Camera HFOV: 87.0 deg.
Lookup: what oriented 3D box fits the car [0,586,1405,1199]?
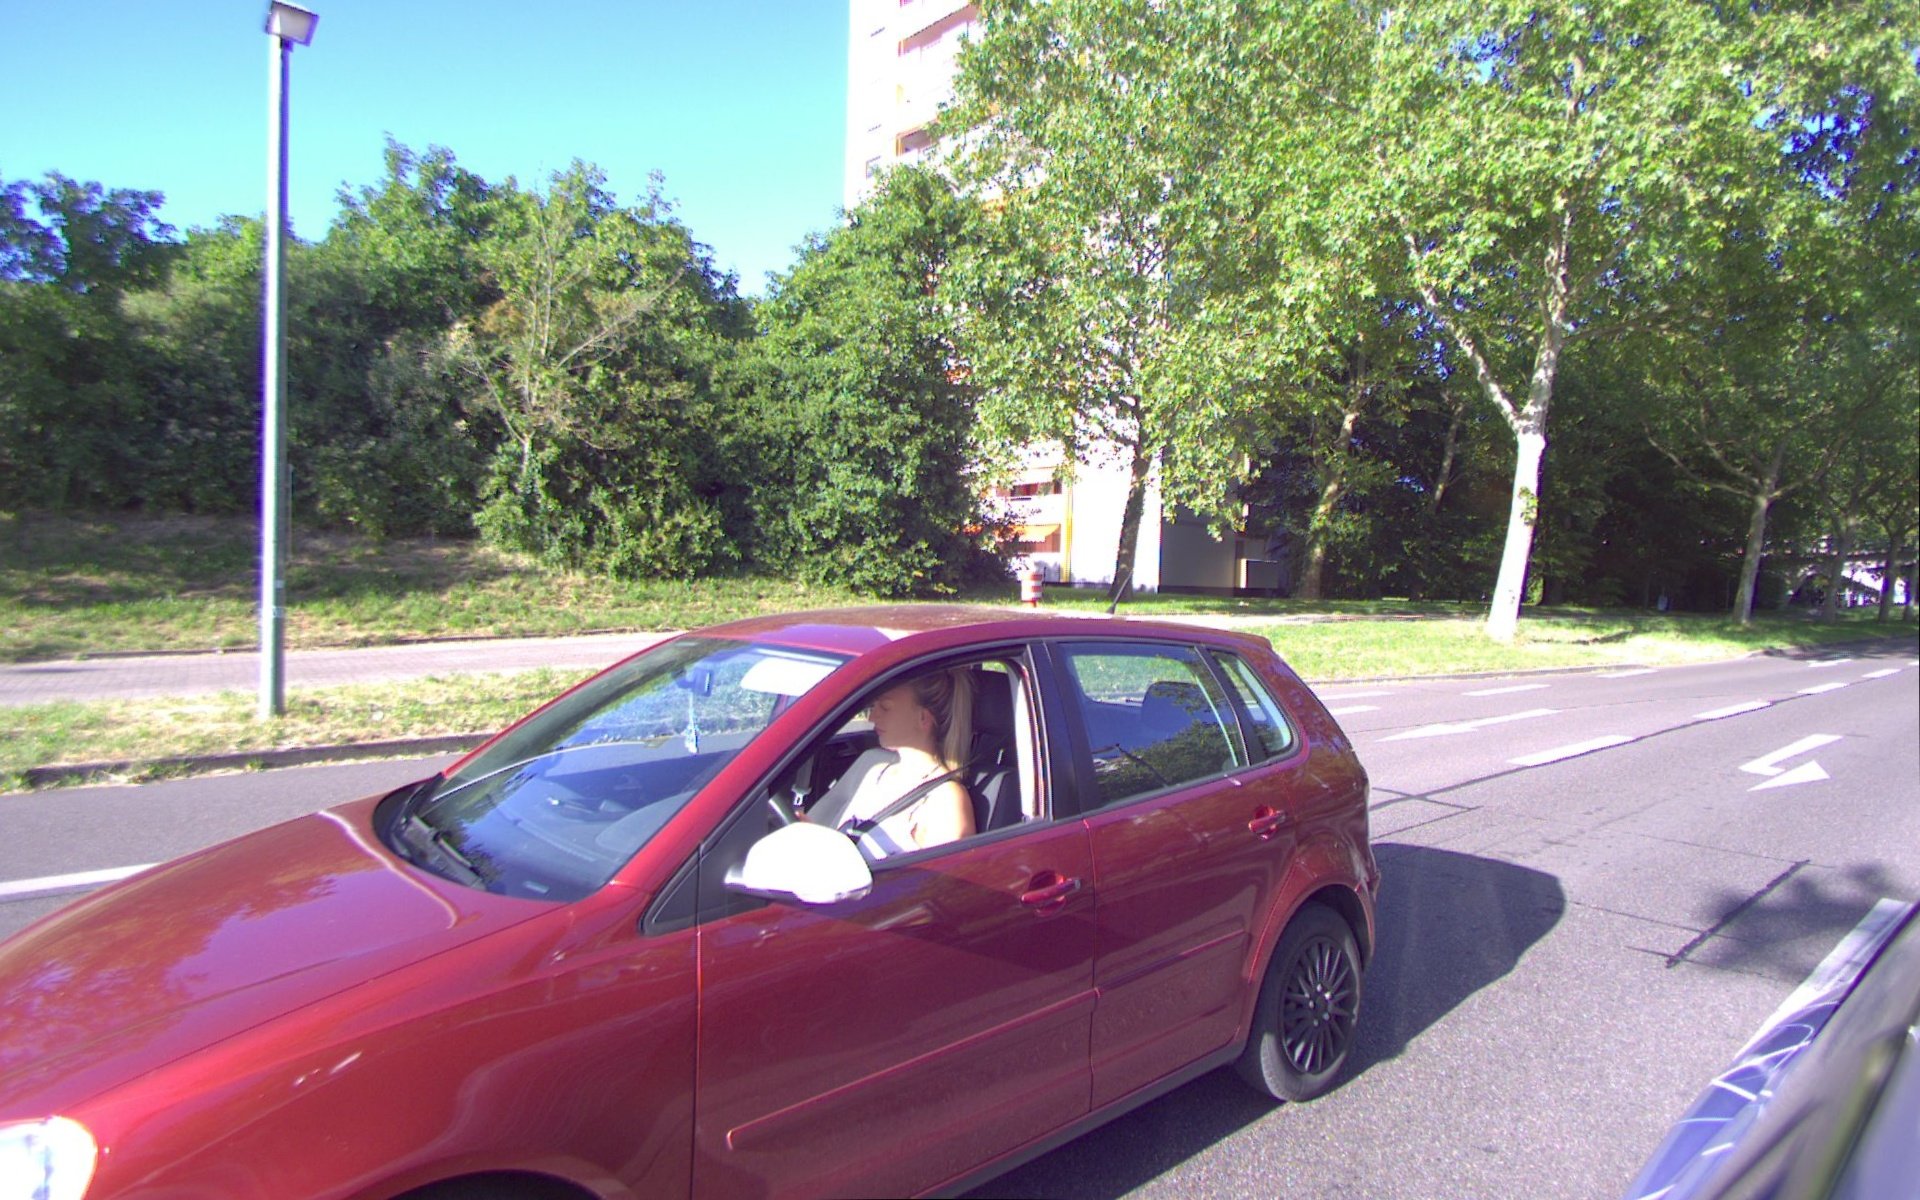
[{"bbox_3d":[-0.446,0.711,2.717,3.624,1.479,1.579,-1,0,-40],"label":"car"}]
